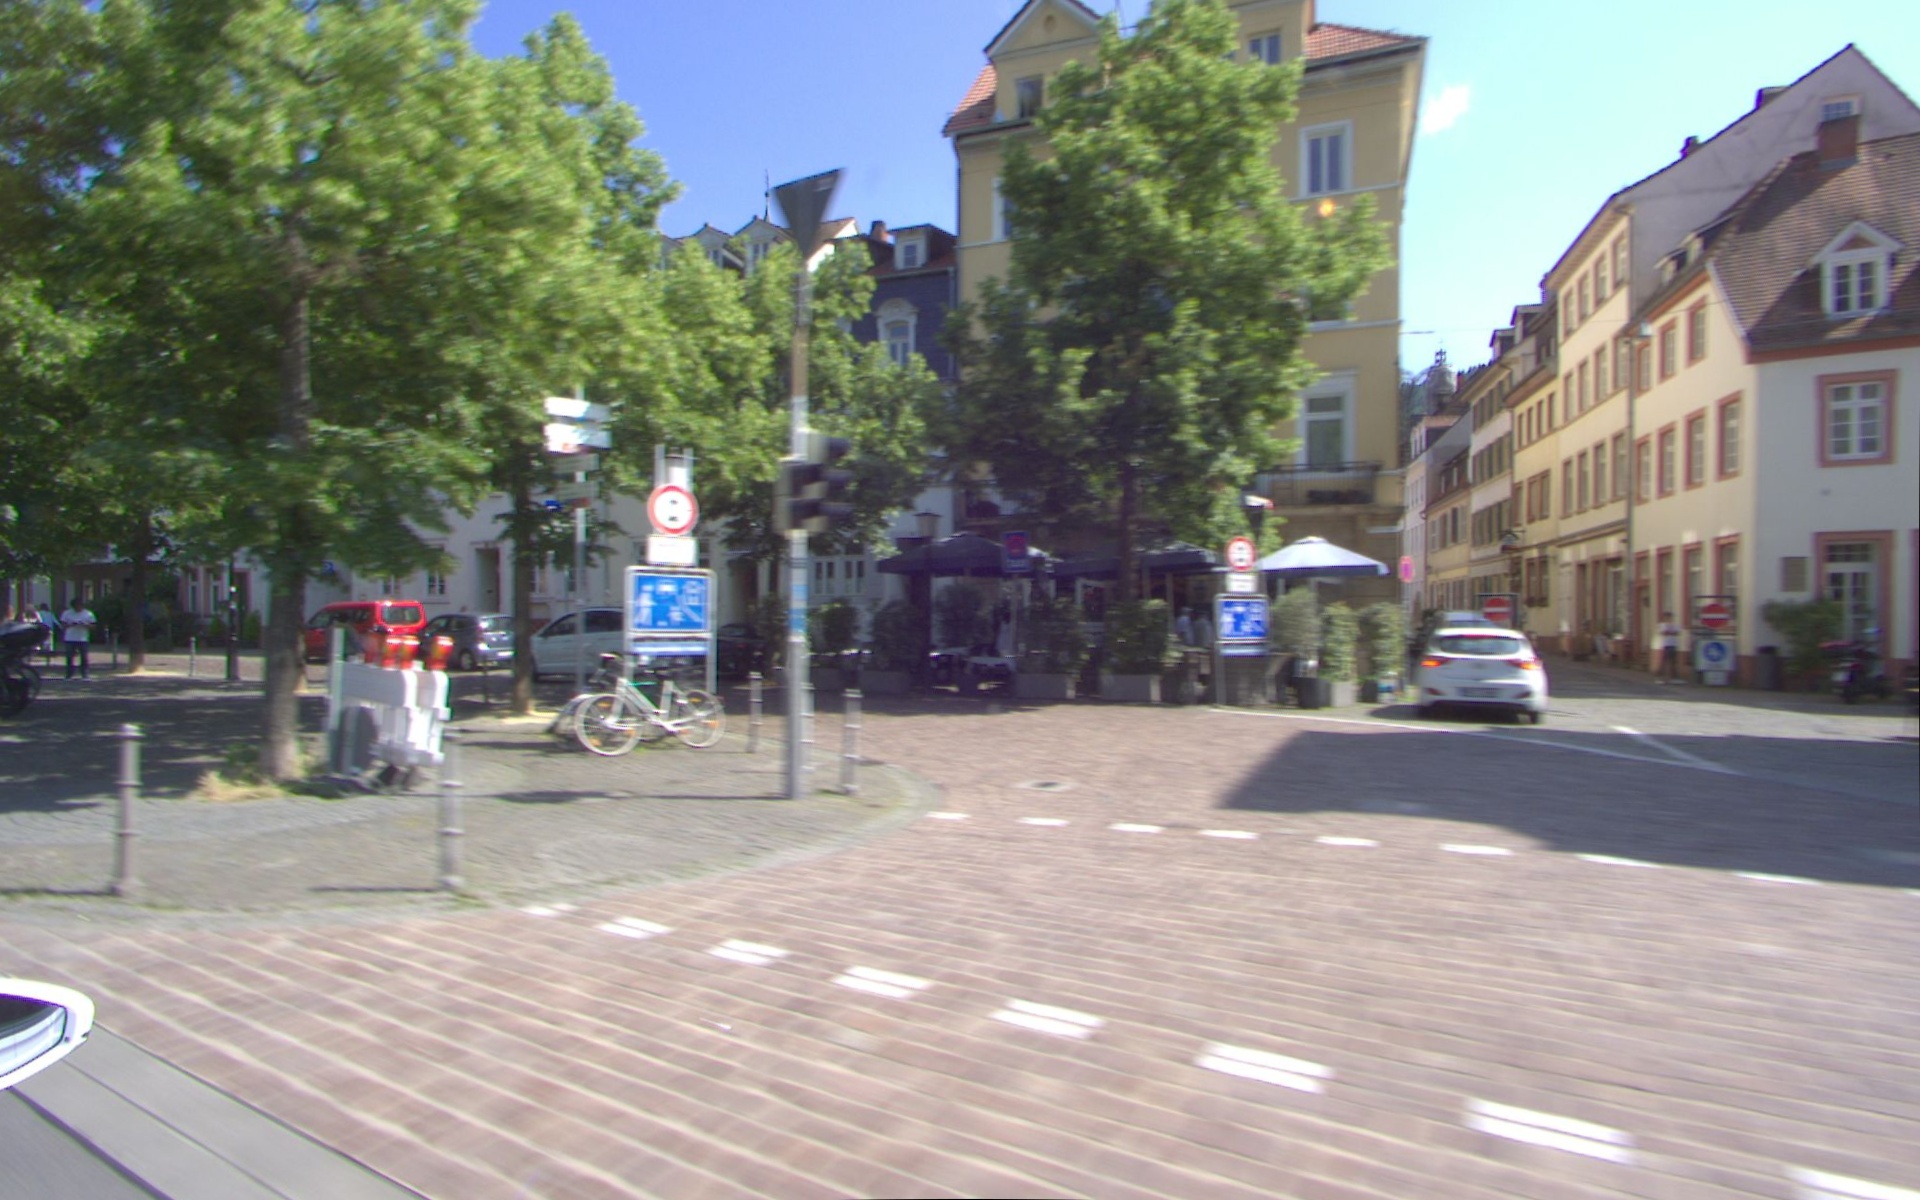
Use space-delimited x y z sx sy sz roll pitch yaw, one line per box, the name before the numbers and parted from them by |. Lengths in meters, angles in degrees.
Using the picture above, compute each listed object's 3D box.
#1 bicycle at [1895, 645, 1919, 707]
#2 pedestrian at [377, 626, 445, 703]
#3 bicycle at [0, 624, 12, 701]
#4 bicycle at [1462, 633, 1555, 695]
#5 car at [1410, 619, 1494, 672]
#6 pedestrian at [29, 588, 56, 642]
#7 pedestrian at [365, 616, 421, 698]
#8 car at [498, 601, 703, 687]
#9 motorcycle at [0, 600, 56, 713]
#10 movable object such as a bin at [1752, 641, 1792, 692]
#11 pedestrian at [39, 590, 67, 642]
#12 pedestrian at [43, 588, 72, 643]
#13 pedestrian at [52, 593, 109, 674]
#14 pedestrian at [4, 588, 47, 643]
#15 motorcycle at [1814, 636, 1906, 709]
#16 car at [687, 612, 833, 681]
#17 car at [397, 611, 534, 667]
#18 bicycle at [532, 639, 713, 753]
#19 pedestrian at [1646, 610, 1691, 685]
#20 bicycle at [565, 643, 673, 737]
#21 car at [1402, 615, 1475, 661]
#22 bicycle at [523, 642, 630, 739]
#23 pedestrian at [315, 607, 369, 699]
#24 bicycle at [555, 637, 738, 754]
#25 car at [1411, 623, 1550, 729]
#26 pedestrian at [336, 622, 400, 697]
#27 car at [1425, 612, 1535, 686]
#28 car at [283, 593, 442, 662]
bicycle | 19.156 1.509 19.547 0.628 1.208 1.877 1 0 20
pedestrian | -9.313 1.077 17.007 0.751 1.269 0.694 0 0 22
bicycle | -14.588 0.934 14.310 0.289 1.135 1.482 0 1 27
bicycle | 12.430 1.439 22.760 1.734 1.297 0.657 1 1 19
car | 15.833 1.418 32.382 1.818 1.388 3.828 5 2 18
pedestrian | -35.253 0.567 38.472 0.587 2.040 0.585 0 0 29
pedestrian | -9.931 0.989 17.537 0.532 1.399 0.627 0 -2 22
car | -7.992 0.905 22.165 4.498 1.751 1.767 0 0 29
motorcycle | -13.637 0.775 13.293 2.259 1.484 0.762 -1 0 -20
movable object such as a bin | 18.359 1.490 22.653 0.589 1.121 0.667 0 0 30
pedestrian | -33.105 0.589 36.543 0.587 1.865 0.585 0 0 29
pedestrian | -33.530 0.573 37.211 0.634 2.040 0.634 0 0 30
pedestrian | -18.598 0.708 21.174 0.696 1.675 0.707 0 0 29
pedestrian | -33.382 0.563 35.779 0.736 1.940 0.967 0 0 30
motorcycle | 18.091 1.428 20.116 2.295 1.300 0.760 -1 0 -32
car | -4.904 1.097 25.067 1.596 1.452 3.737 0 1 27
car | -13.559 1.032 27.441 3.416 1.451 1.674 -1 -1 27
bicycle | -3.904 1.082 11.741 0.515 1.213 2.003 0 -2 41
pedestrian | 17.636 1.158 24.956 0.751 1.823 0.694 0 2 22
bicycle | -4.465 1.125 13.005 0.589 1.081 2.047 -1 0 -41
car | 17.283 1.339 36.324 1.818 1.388 3.828 5 2 18
bicycle | -4.901 1.105 12.720 0.589 1.081 2.047 -1 0 -41
pedestrian | -10.590 0.898 17.161 0.678 1.536 0.459 0 -1 22
bicycle | -3.517 1.058 11.419 0.515 1.213 1.990 0 -2 41
car | 8.592 1.175 16.749 1.803 1.474 3.988 2 -1 25
pedestrian | -10.549 1.049 17.861 0.741 1.297 0.627 0 -2 22
car | 13.536 1.211 26.312 1.818 1.617 3.993 5 2 18
car | -17.800 0.773 29.823 4.560 1.927 1.992 0 0 27
